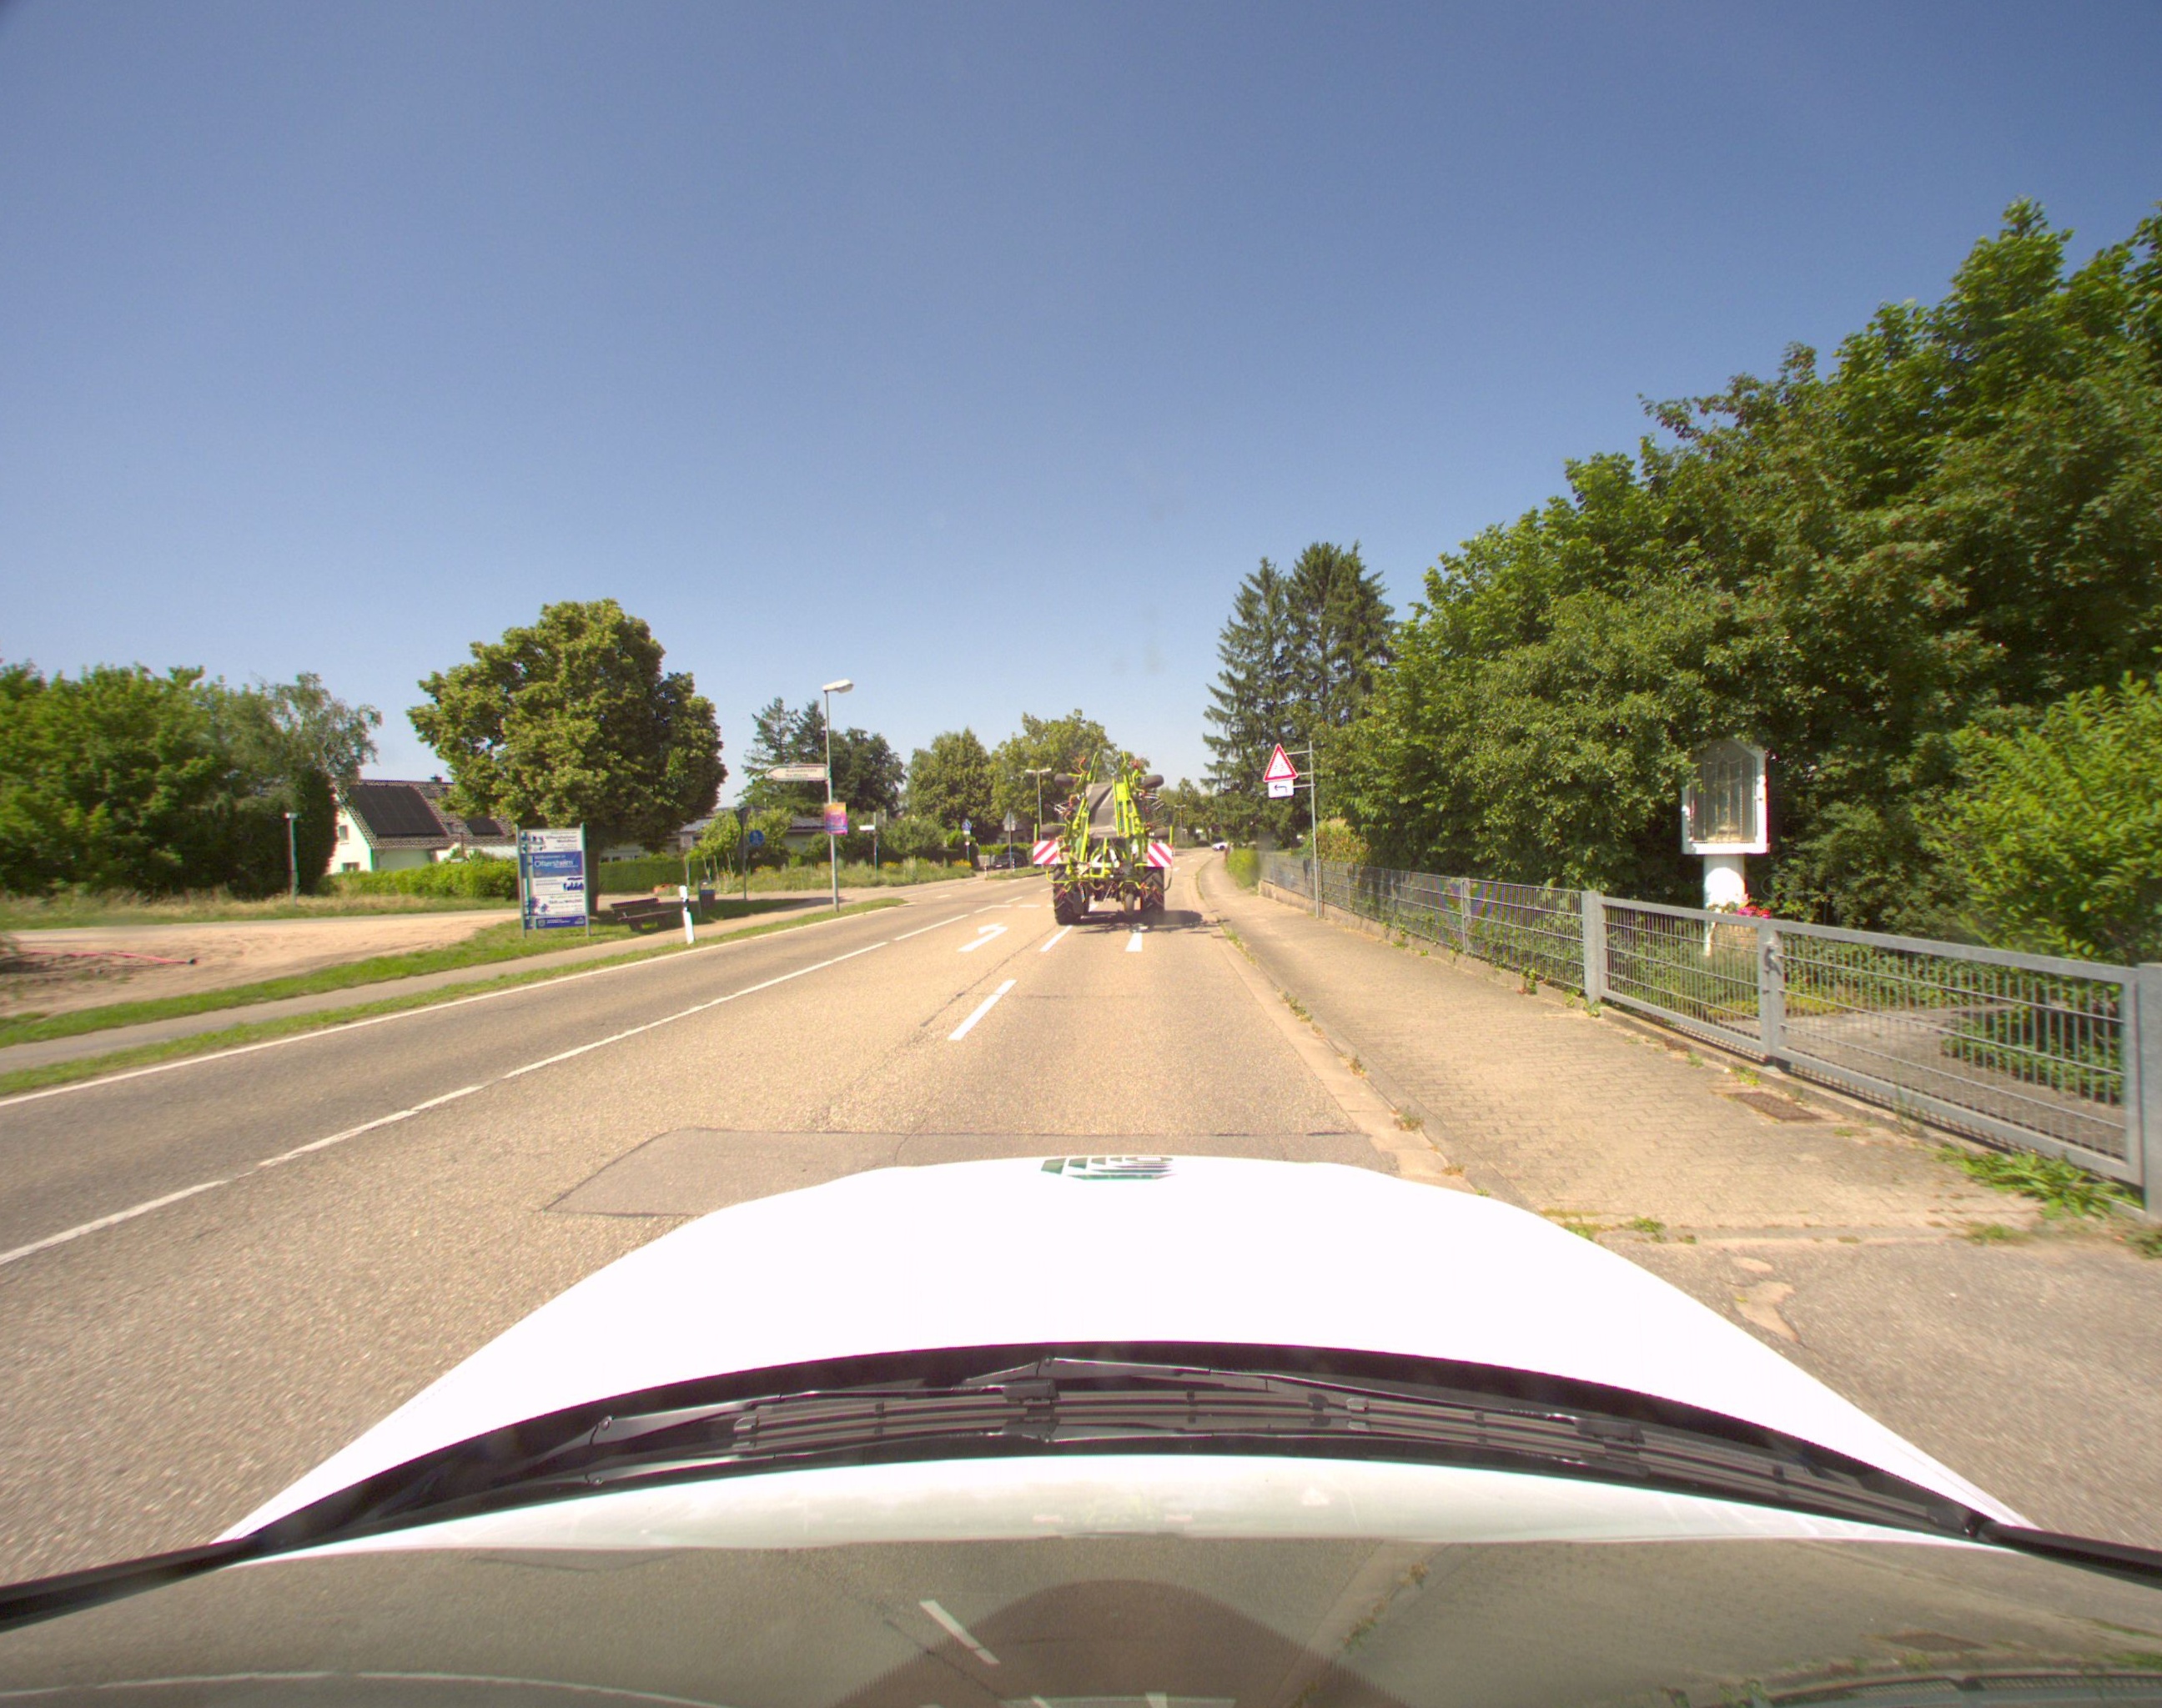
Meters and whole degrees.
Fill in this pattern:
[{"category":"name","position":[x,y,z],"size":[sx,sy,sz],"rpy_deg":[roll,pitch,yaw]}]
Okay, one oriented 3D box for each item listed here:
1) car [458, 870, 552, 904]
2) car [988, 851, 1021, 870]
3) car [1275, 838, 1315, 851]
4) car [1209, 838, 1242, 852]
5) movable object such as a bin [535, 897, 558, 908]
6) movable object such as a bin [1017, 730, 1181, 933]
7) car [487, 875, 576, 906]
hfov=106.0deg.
[{"category":"car","position":[-31.022,1.761,43.864],"size":[4.055,1.519,2.009],"rpy_deg":[-3,0,17]},{"category":"car","position":[-6.625,0.540,71.237],"size":[1.677,1.530,4.014],"rpy_deg":[-1,0,13]},{"category":"car","position":[22.960,-1.042,87.590],"size":[3.805,1.294,1.681],"rpy_deg":[-1,1,-6]},{"category":"car","position":[19.313,-1.244,108.508],"size":[4.008,1.715,1.847],"rpy_deg":[-2,0,-27]},{"category":"movable object such as a bin","position":[-22.835,2.052,34.819],"size":[0.316,0.410,0.769],"rpy_deg":[-2,0,44]},{"category":"movable object such as a bin","position":[0.786,-0.436,19.406],"size":[2.839,3.541,9.716],"rpy_deg":[-2,0,5]},{"category":"car","position":[-32.655,2.167,48.485],"size":[3.968,1.518,1.884],"rpy_deg":[-3,2,4]}]
